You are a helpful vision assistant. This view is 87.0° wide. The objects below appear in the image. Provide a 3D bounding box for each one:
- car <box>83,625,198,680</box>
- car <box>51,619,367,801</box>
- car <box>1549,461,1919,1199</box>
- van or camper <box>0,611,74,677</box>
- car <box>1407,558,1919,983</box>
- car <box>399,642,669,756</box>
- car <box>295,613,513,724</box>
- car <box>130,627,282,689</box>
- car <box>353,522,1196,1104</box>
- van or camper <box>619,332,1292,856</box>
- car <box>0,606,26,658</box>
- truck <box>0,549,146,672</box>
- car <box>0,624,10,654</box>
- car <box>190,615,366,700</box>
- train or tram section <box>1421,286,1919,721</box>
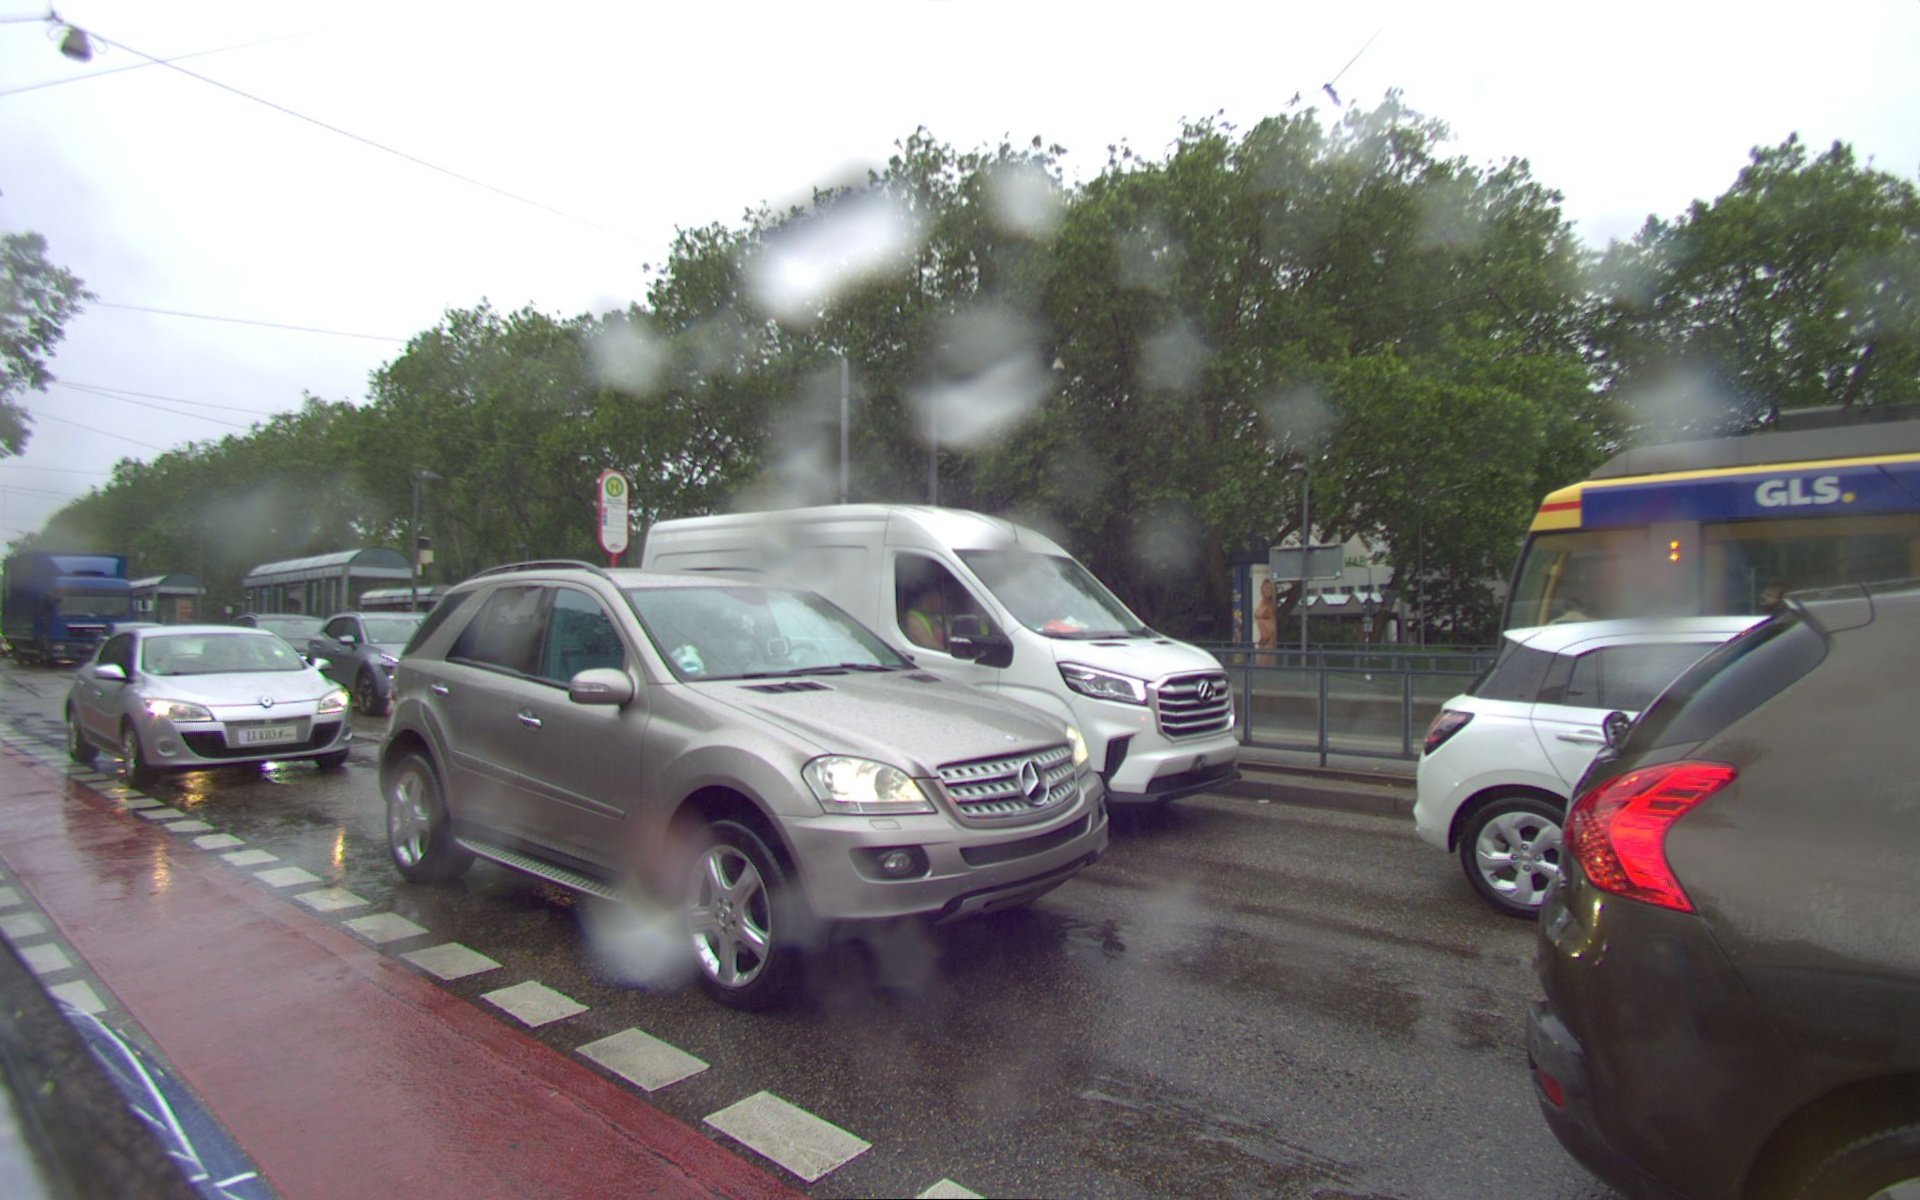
[{"bbox_3d":[-24.319,1.503,29.982,4.074,1.498,1.871,-1,-2,40],"label":"car"},{"bbox_3d":[-7.793,0.954,10.371,3.998,1.489,1.750,-1,-1,40],"label":"car"},{"bbox_3d":[3.285,0.599,1.231,4.170,1.681,1.815,-1,-1,41],"label":"car"},{"bbox_3d":[-40.039,1.829,43.539,6.427,2.590,1.973,-1,0,41],"label":"van or camper"},{"bbox_3d":[4.261,0.674,4.520,3.834,1.641,1.628,-1,-2,41],"label":"car"},{"bbox_3d":[-5.450,1.138,12.705,4.084,1.126,1.448,-1,-1,40],"label":"car"},{"bbox_3d":[-9.494,1.064,17.123,4.454,1.636,1.894,-1,-2,43],"label":"car"},{"bbox_3d":[-18.831,1.388,25.198,4.602,1.405,1.973,-1,-3,40],"label":"car"},{"bbox_3d":[-1.261,0.686,5.328,4.459,1.783,2.004,-1,-1,40],"label":"car"},{"bbox_3d":[-0.375,0.027,8.811,5.846,3.166,2.136,-1,-2,40],"label":"van or camper"},{"bbox_3d":[-46.939,1.543,49.090,5.727,2.445,1.972,-1,0,43],"label":"car"},{"bbox_3d":[-32.121,0.455,36.301,9.803,3.919,2.513,-1,-3,40],"label":"truck"},{"bbox_3d":[-52.355,2.098,54.060,3.998,1.589,1.973,-1,-1,41],"label":"car"},{"bbox_3d":[-14.649,1.170,21.673,4.316,1.633,1.974,-1,-2,40],"label":"car"},{"bbox_3d":[11.182,-0.852,7.566,13.652,3.539,3.476,-1,0,41],"label":"train or tram section"}]
